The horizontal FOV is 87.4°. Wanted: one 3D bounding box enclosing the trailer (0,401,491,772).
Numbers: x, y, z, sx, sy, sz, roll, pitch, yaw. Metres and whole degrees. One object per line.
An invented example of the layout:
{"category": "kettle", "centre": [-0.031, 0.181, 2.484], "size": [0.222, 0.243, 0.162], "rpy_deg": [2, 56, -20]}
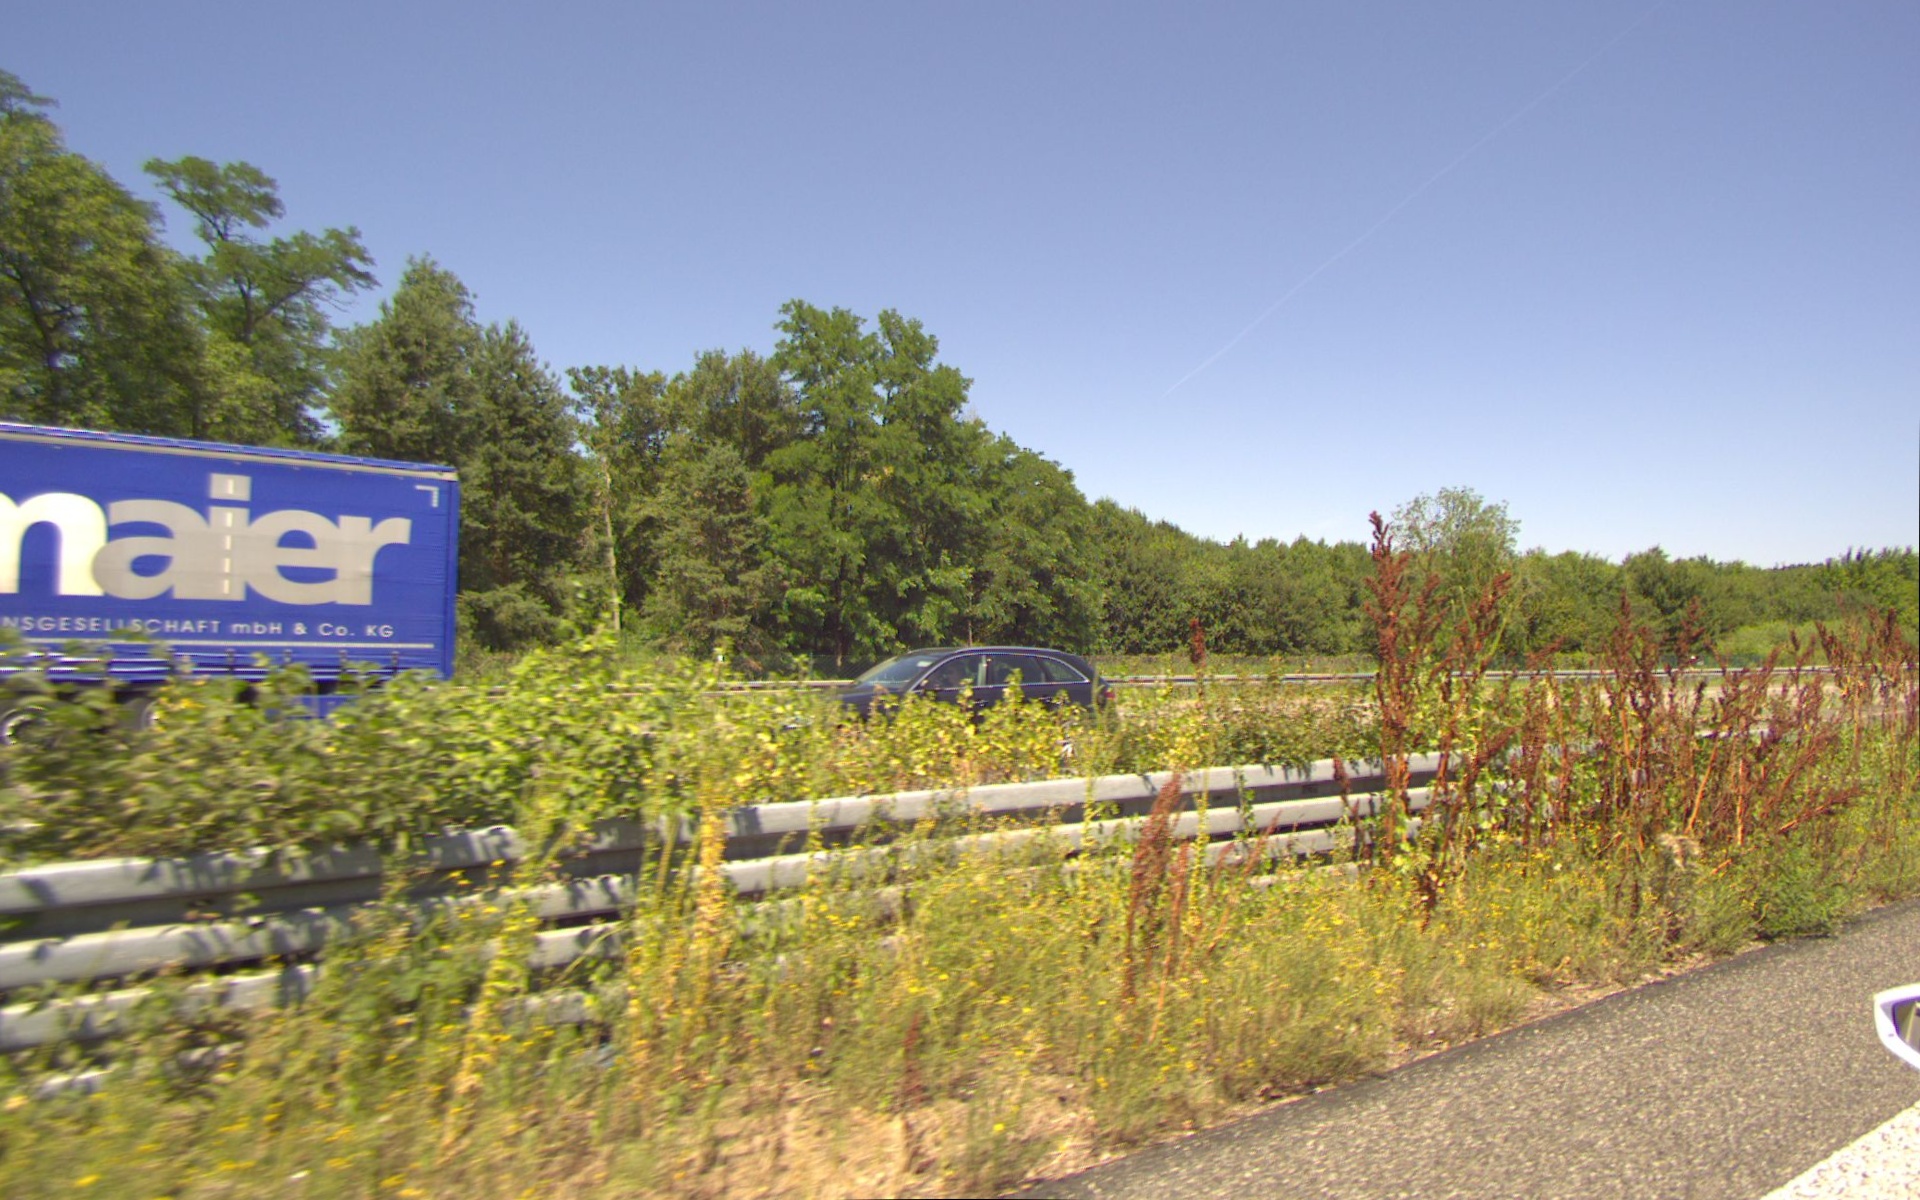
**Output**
{"category": "trailer", "centre": [-12.832, -0.136, 11.522], "size": [13.312, 4.184, 2.461], "rpy_deg": [2, -4, -31]}

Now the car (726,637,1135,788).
{"category": "car", "centre": [-0.268, 1.197, 11.669], "size": [4.490, 1.457, 1.745], "rpy_deg": [2, -4, -30]}
